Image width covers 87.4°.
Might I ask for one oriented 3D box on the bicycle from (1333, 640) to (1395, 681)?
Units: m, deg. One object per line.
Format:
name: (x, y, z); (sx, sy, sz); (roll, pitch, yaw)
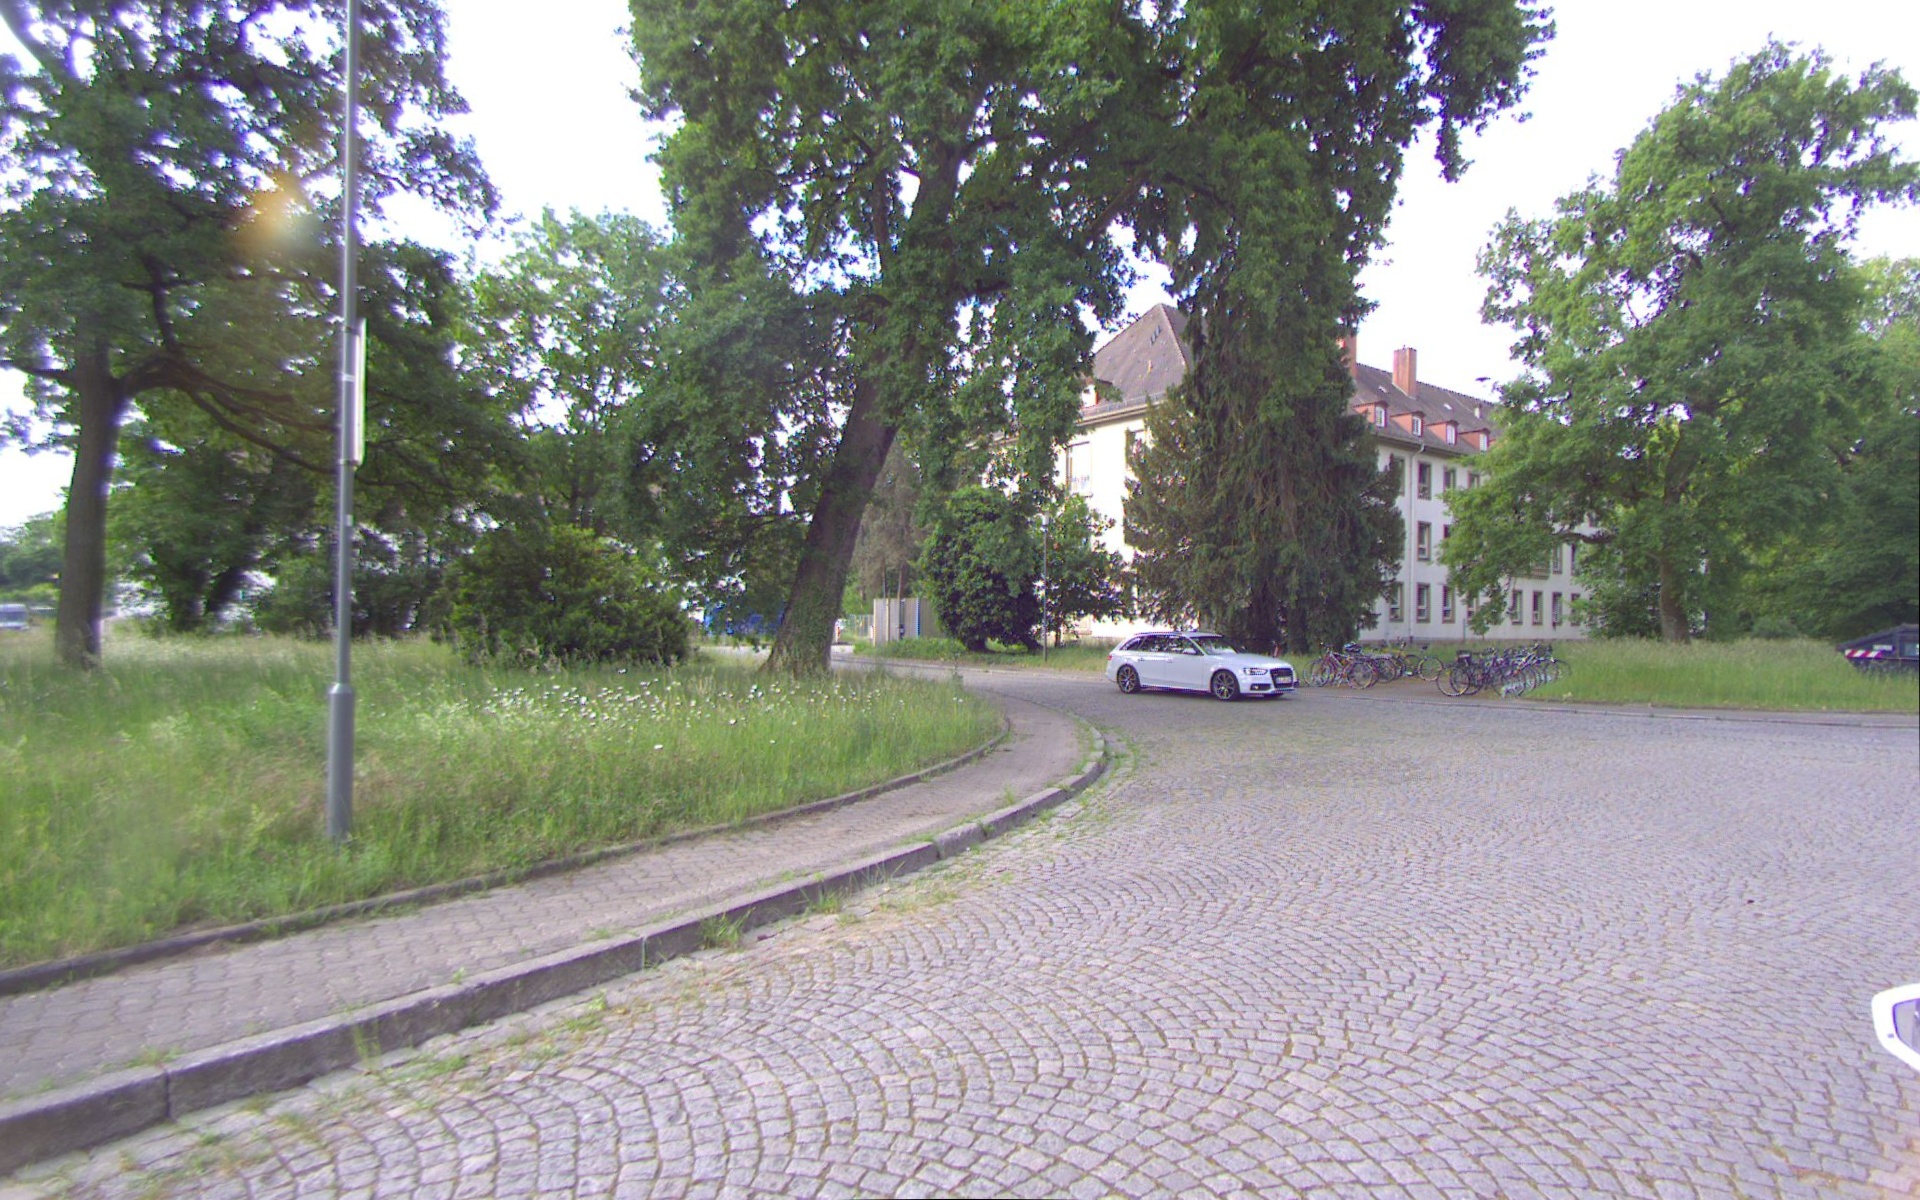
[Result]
bicycle: (11.219, 1.669, 27.892); (1.599, 1.088, 0.539); (0, 1, 24)

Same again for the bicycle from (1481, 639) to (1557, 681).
bicycle: (15.325, 1.637, 27.552); (1.747, 1.120, 0.540); (-2, 0, 35)

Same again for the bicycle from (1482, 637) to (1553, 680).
bicycle: (15.562, 1.629, 28.061); (1.674, 1.131, 0.540); (-2, 0, 35)

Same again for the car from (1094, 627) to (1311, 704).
car: (5.283, 1.379, 22.482); (1.837, 1.456, 4.657); (0, -1, -37)

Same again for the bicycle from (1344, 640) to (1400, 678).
bicycle: (11.960, 1.711, 29.162); (1.487, 1.049, 0.545); (0, 1, 24)

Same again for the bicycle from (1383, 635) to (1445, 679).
bicycle: (13.217, 1.640, 29.262); (1.614, 1.201, 0.573); (0, 1, 29)

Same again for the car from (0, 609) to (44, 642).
car: (-65.600, 1.789, 70.146); (2.021, 2.040, 4.181); (2, 1, -39)

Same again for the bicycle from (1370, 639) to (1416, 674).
bicycle: (13.405, 1.745, 31.126); (1.242, 1.042, 0.432); (-2, -4, 35)

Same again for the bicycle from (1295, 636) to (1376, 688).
bicycle: (9.743, 1.601, 26.086); (1.870, 1.239, 0.641); (0, 1, 35)

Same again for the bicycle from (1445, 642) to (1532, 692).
bicycle: (12.711, 1.600, 24.172); (1.744, 1.118, 0.700); (-2, 0, 35)

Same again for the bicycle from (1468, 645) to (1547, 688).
bicycle: (13.745, 1.646, 25.227); (1.669, 1.015, 0.630); (-2, 0, 35)

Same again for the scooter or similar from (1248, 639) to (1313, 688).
scooter or similar: (8.436, 1.660, 26.480); (0.675, 1.211, 1.539); (0, -1, -32)

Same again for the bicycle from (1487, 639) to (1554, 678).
bicycle: (15.895, 1.653, 28.500); (1.595, 1.073, 0.525); (-2, 0, 35)

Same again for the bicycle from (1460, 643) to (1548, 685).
bicycle: (14.077, 1.637, 26.030); (1.928, 1.018, 0.684); (-2, 0, 35)

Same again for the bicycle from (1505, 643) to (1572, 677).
bicycle: (16.520, 1.705, 28.694); (1.595, 0.923, 0.525); (-2, 0, 35)

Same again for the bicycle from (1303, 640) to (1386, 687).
bicycle: (10.166, 1.668, 26.614); (1.959, 1.129, 0.641); (0, 1, 35)

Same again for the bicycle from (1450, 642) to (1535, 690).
bicycle: (13.122, 1.611, 24.778); (1.770, 1.118, 0.700); (-2, 0, 35)
